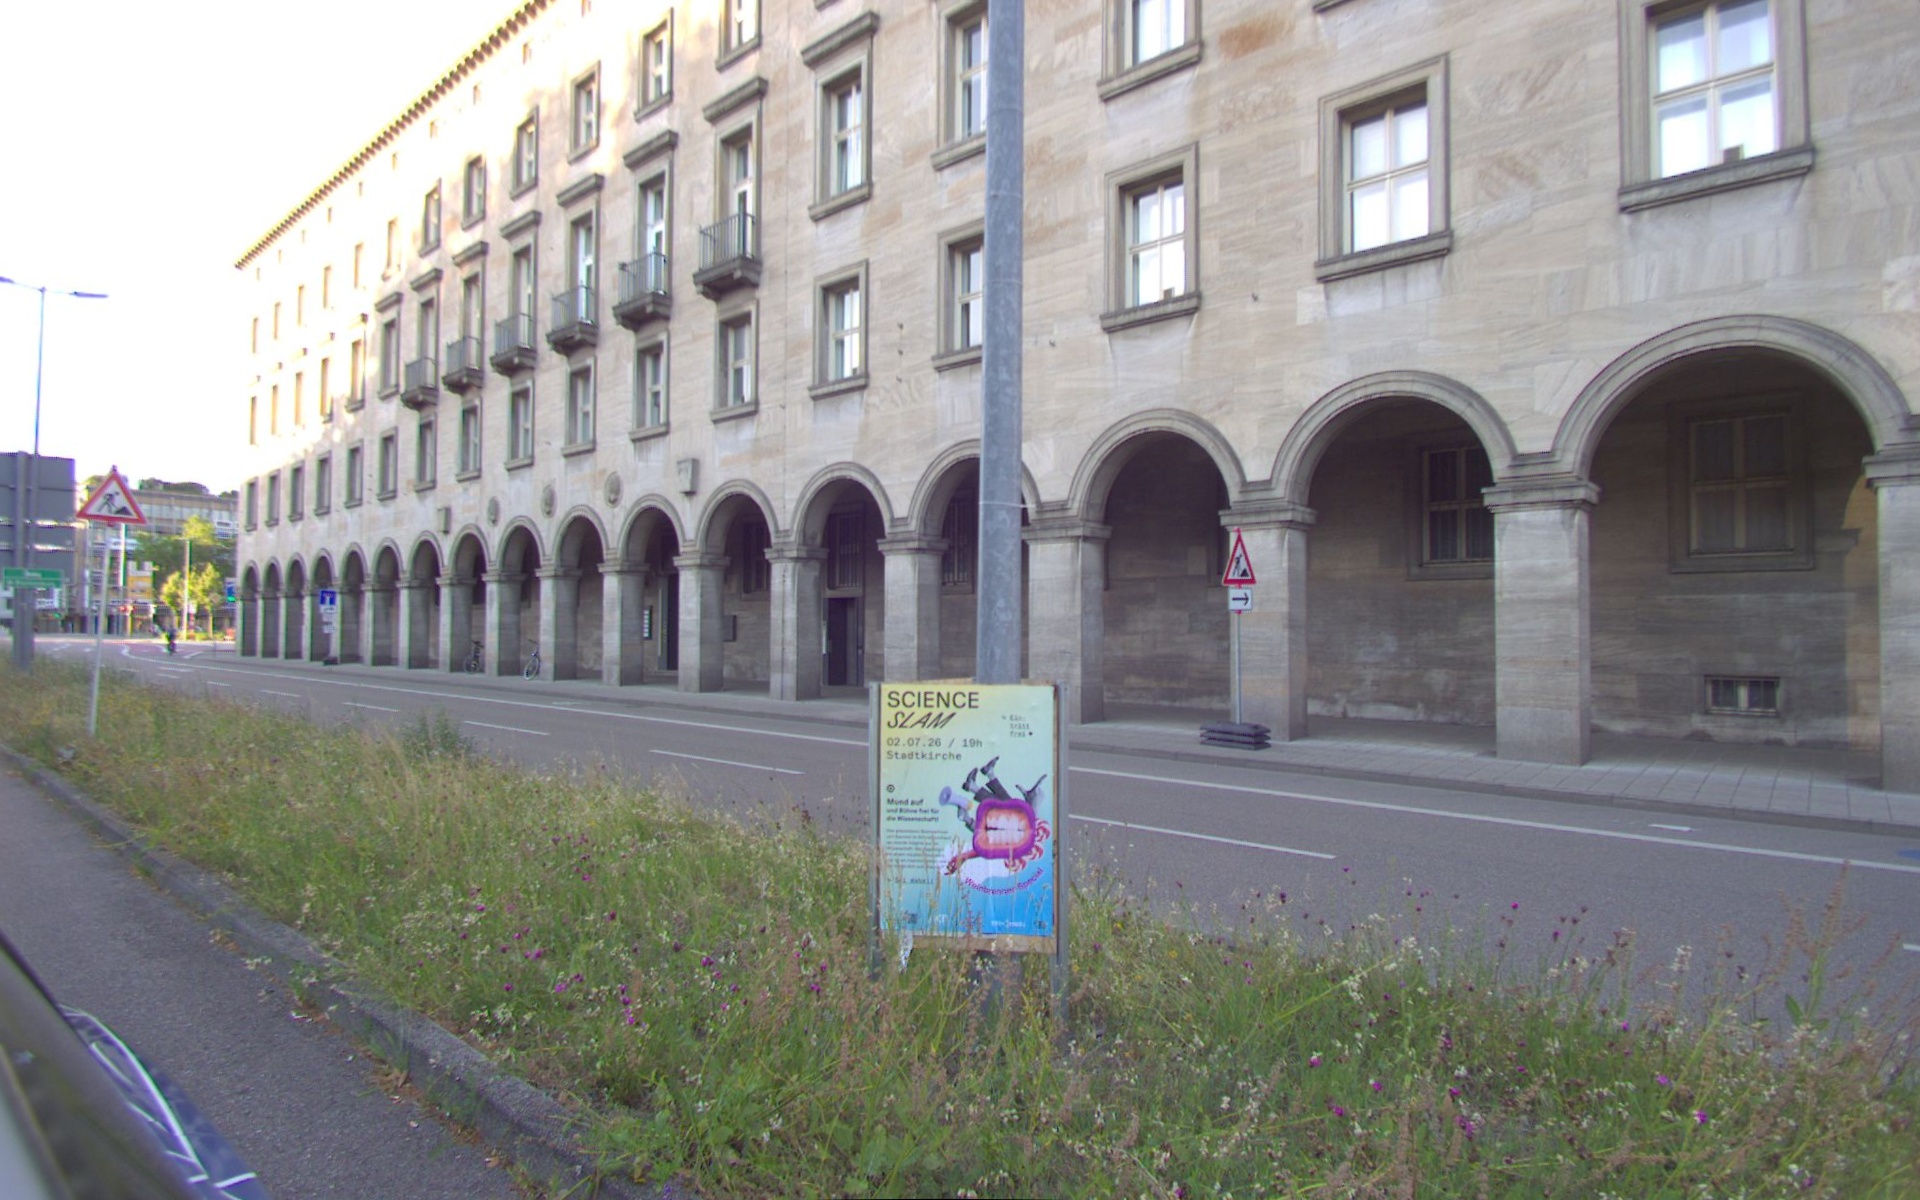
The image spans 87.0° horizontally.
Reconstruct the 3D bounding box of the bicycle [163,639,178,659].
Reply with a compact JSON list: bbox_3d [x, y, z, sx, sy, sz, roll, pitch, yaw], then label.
[{"bbox_3d":[-42.316,2.619,54.240,0.534,1.013,2.010,2,-3,-35],"label":"bicycle"}]

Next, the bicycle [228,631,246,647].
[{"bbox_3d":[-62.259,3.355,87.174,2.507,1.334,0.611,-1,-3,40],"label":"bicycle"}]

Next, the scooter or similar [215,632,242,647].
[{"bbox_3d":[-63.869,3.422,88.366,0.422,1.315,1.819,-1,-2,35],"label":"scooter or similar"}]

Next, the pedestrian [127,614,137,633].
[{"bbox_3d":[-84.011,2.359,102.643,0.647,1.948,0.652,-3,-4,43],"label":"pedestrian"}]

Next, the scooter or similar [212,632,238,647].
[{"bbox_3d":[-64.607,3.449,88.925,0.416,1.315,1.772,-1,-2,35],"label":"scooter or similar"}]

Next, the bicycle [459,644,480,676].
[{"bbox_3d":[-16.264,1.976,33.540,0.470,1.013,2.011,1,-2,-30],"label":"bicycle"}]

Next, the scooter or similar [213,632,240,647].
[{"bbox_3d":[-64.224,3.435,88.630,0.422,1.315,1.814,-1,-2,35],"label":"scooter or similar"}]

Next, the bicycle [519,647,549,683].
[{"bbox_3d":[-12.624,1.916,30.050,0.471,1.013,2.010,1,-2,-13],"label":"bicycle"}]

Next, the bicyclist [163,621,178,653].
[{"bbox_3d":[-42.270,1.963,54.184,0.529,1.706,0.750,2,-3,-35],"label":"bicyclist"}]
